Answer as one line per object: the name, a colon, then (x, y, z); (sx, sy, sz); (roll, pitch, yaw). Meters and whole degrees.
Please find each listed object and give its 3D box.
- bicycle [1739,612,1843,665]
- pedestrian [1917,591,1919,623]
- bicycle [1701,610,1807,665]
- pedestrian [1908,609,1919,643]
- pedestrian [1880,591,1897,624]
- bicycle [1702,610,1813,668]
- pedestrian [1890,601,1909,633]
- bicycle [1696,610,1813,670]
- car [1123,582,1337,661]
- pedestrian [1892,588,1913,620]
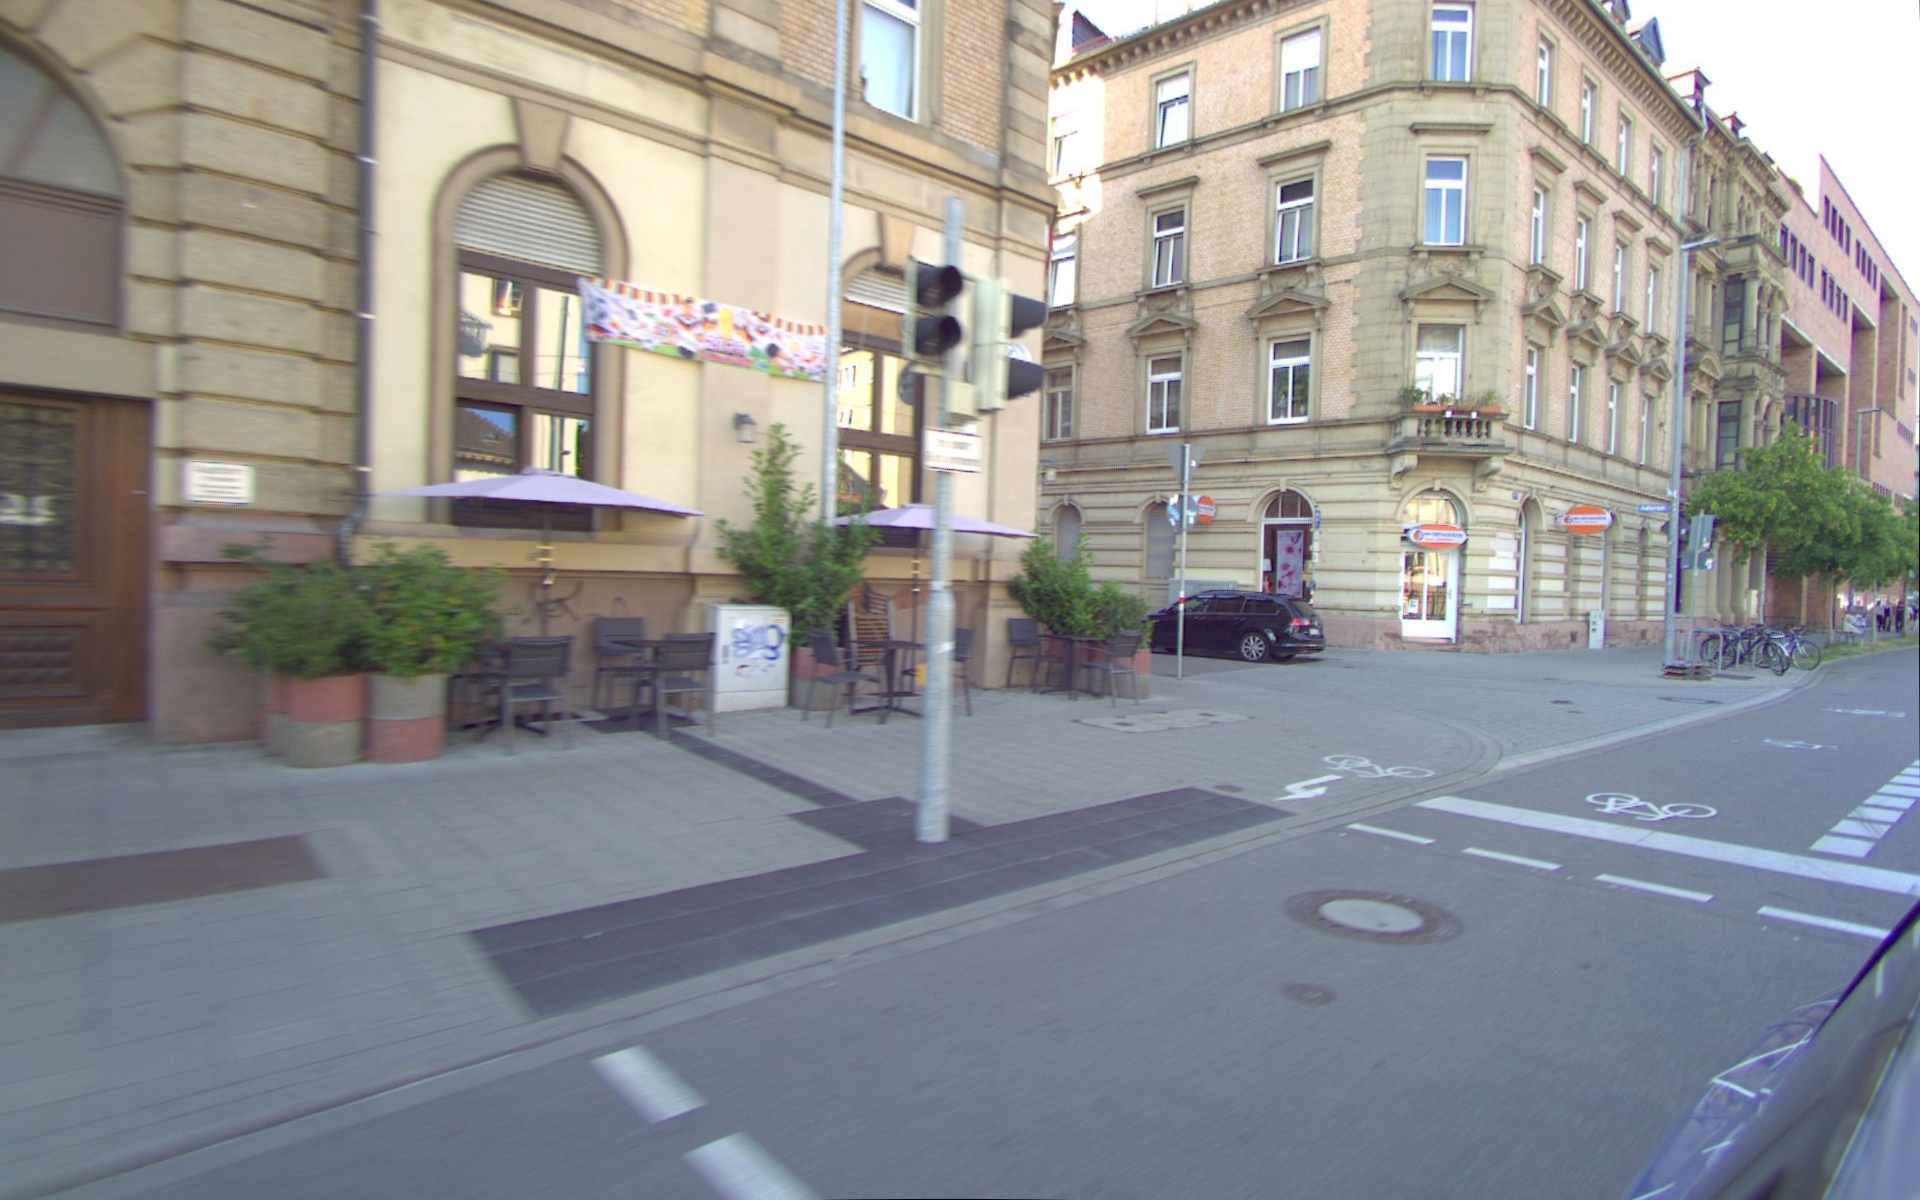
bicycle: (20.023, 0.909, 24.417); (0.653, 1.077, 1.827); (2, 3, -45)
pedestrian: (53.266, 0.385, 55.820); (0.682, 1.778, 0.538); (1, 1, -37)
bicycle: (18.714, 0.866, 23.884); (0.653, 1.077, 1.827); (2, 3, -45)
pedestrian: (51.664, 1.398, 54.729); (0.536, 1.778, 0.458); (2, 1, 42)
pedestrian: (50.734, 0.391, 55.282); (0.533, 1.778, 0.418); (2, 1, 27)
bicycle: (17.898, 0.851, 22.738); (0.653, 1.077, 1.827); (2, 3, -45)
pedestrian: (51.942, 0.935, 55.966); (0.681, 1.778, 0.539); (1, 1, -30)
bicycle: (16.949, 0.832, 21.617); (0.653, 1.077, 1.827); (2, 3, -45)
car: (5.724, 0.428, 21.716); (4.134, 1.405, 1.595); (3, -1, 39)
pedestrian: (53.397, 0.226, 57.339); (0.683, 1.778, 0.734); (1, 1, -38)
